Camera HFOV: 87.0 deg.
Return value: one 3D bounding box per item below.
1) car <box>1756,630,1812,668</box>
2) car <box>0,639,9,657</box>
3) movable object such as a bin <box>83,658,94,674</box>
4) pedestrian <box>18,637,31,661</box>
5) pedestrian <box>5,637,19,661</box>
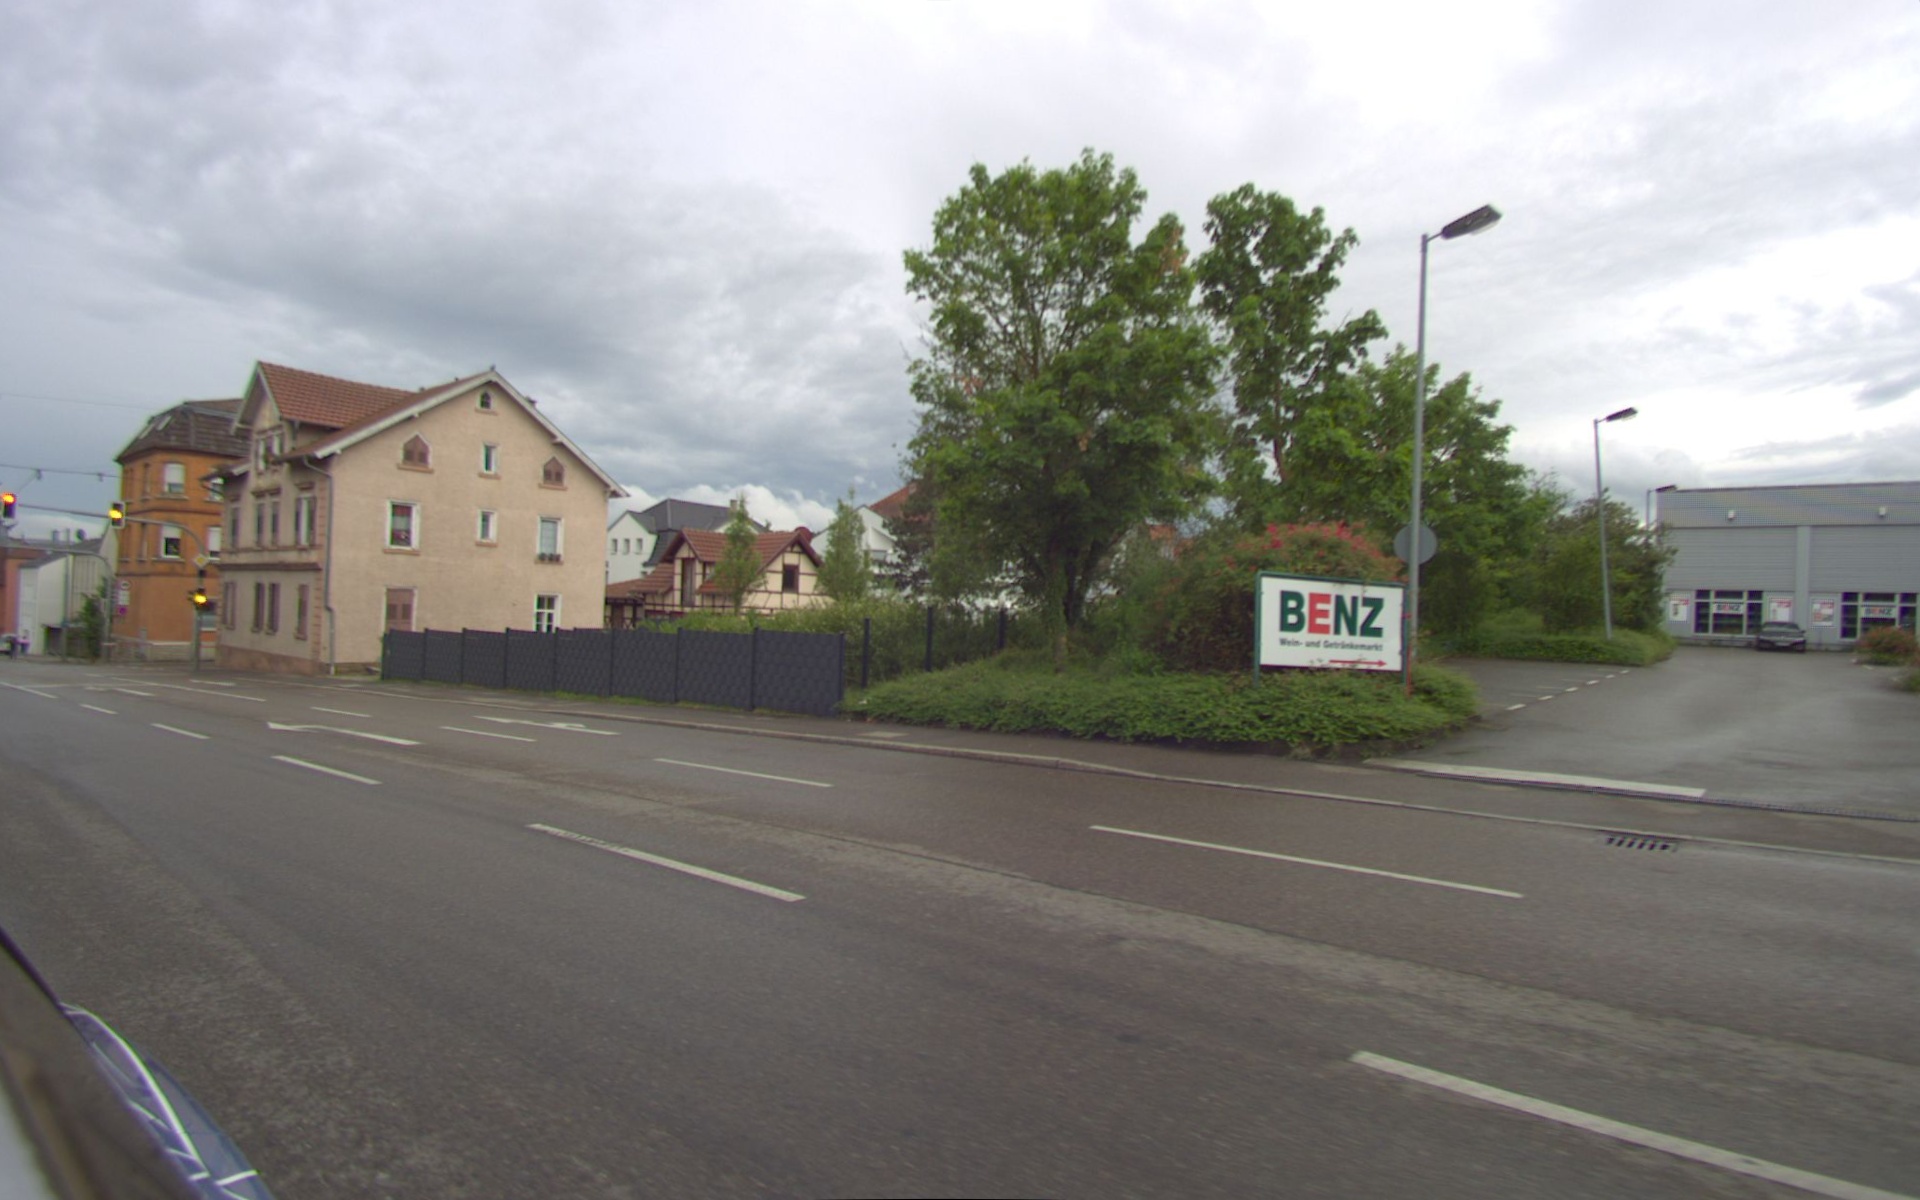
[{"bbox_3d":[39.425,2.319,48.429,1.998,1.697,3.947,-1,-1,39],"label":"car"},{"bbox_3d":[-85.430,4.202,89.306,4.175,1.519,1.727,-2,-3,41],"label":"car"},{"bbox_3d":[-53.826,4.092,62.525,0.525,0.932,0.405,-1,-2,34],"label":"movable object such as a bin"},{"bbox_3d":[-69.561,3.640,75.259,0.911,1.719,0.633,-2,-3,42],"label":"pedestrian"},{"bbox_3d":[-69.995,3.613,74.711,0.911,1.719,0.633,-2,-3,42],"label":"pedestrian"}]
